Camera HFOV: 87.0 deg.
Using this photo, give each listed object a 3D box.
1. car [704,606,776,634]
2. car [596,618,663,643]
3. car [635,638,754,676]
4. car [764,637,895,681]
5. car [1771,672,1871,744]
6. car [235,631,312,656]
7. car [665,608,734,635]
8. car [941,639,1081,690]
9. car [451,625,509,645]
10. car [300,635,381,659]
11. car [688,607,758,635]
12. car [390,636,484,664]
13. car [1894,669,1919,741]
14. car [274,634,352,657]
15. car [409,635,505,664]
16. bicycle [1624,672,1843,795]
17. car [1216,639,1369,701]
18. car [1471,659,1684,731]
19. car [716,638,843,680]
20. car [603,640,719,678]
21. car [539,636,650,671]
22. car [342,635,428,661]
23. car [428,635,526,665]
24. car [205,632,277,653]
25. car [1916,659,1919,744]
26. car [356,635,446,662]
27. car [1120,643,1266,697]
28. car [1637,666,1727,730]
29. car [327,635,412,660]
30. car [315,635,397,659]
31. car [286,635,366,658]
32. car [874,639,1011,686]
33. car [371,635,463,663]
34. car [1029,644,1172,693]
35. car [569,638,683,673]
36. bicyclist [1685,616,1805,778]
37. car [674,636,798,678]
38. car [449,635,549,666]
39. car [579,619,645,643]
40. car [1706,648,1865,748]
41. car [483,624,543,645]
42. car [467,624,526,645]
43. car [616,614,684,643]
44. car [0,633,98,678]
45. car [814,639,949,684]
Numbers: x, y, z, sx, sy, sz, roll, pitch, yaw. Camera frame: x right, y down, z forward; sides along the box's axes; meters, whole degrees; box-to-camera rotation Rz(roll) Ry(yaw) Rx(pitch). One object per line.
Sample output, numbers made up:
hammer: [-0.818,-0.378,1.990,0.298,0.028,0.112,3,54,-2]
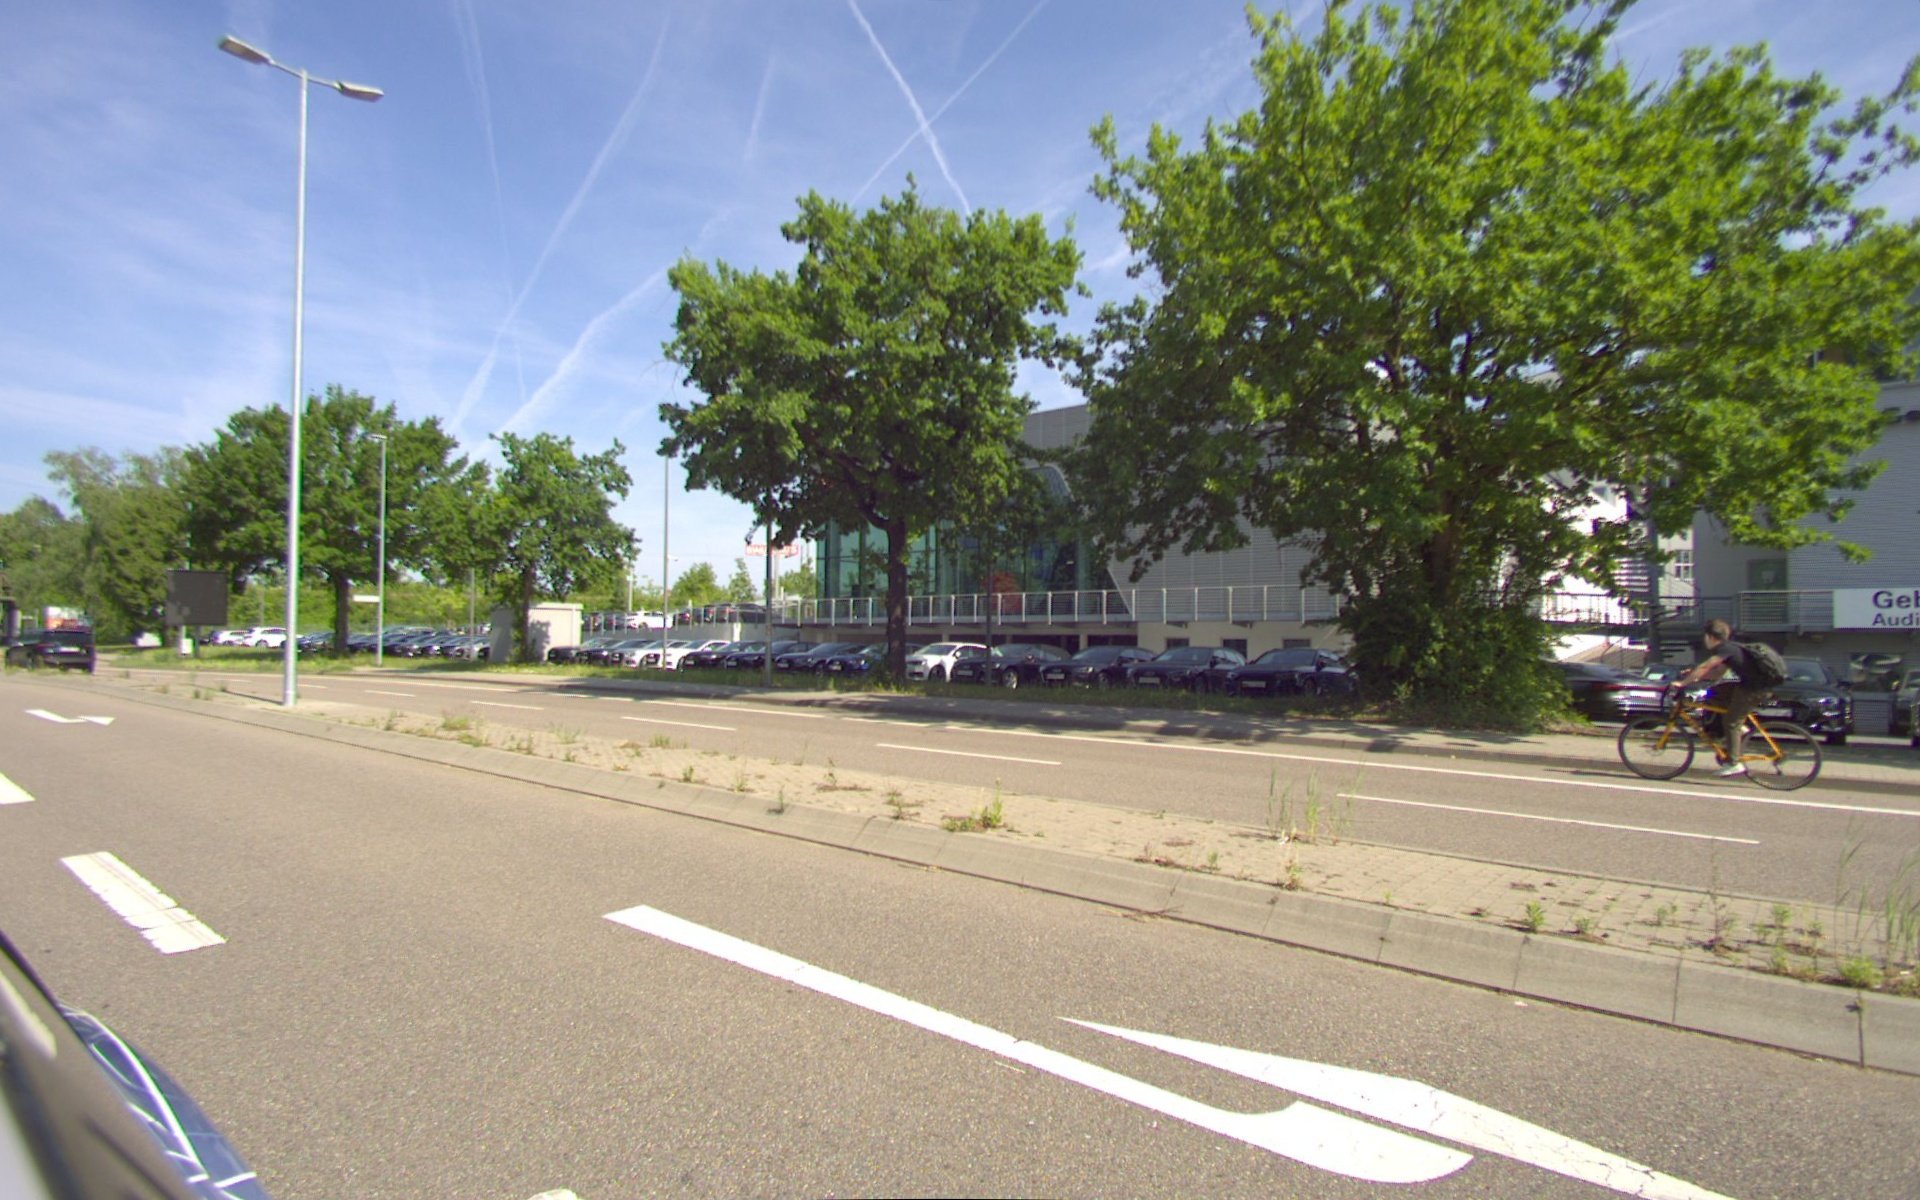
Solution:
car: [-13.635,1.281,62.849,1.689,1.416,4.141,-2,-6,42]
car: [-23.398,2.206,71.704,1.689,1.511,4.141,-2,-6,42]
car: [-10.086,2.204,38.651,1.689,1.265,4.141,-2,-6,42]
car: [-4.213,1.959,33.188,1.689,1.264,4.141,-2,-6,42]
car: [20.780,2.536,24.526,1.688,1.484,3.779,-2,-3,39]
car: [-48.953,3.126,72.220,1.689,1.511,4.141,-2,-6,42]
car: [-17.185,1.474,66.937,1.689,1.511,4.141,-2,-6,42]
car: [1.496,1.836,28.367,1.689,1.256,4.141,-2,-6,42]
car: [-41.521,3.047,87.605,1.689,1.511,4.141,-2,-6,42]
car: [-40.273,3.087,65.870,1.689,1.333,4.141,-2,-6,42]
car: [-15.189,1.377,65.071,1.689,1.511,4.141,-2,-6,42]
car: [-28.484,2.727,55.217,1.689,1.333,4.141,-2,-6,42]
car: [22.573,2.359,22.984,1.803,1.484,3.778,-2,-3,40]
car: [-44.296,3.137,69.303,1.689,1.333,4.141,-2,-6,42]
car: [-26.389,2.635,53.217,1.689,1.333,4.141,-2,-6,42]
bicycle: [8.145,1.362,10.719,1.770,1.159,0.565,-2,-5,44]
car: [7.631,1.612,22.991,1.796,1.236,4.141,-2,-6,42]
car: [12.989,1.958,21.593,1.662,1.343,3.848,1,-3,-11]
car: [-6.191,2.046,35.020,1.689,1.269,4.141,-2,-6,42]
car: [-11.849,2.356,40.282,1.689,1.335,4.141,-2,-6,42]
car: [-15.693,2.322,43.587,1.689,1.333,4.141,-2,-6,42]
car: [-34.457,2.878,60.727,1.689,1.333,4.141,-2,-6,42]
car: [-24.679,2.592,51.811,1.689,1.333,4.141,-2,-6,42]
car: [-54.862,3.277,77.280,1.689,1.389,4.141,-2,-6,42]
car: [15.491,1.530,14.883,1.801,1.405,4.172,-2,-6,40]
car: [-32.323,2.810,58.586,1.689,1.333,4.141,-2,-6,42]
car: [5.755,1.731,24.713,1.695,1.143,4.141,-2,-6,42]
car: [18.848,2.478,26.358,1.688,1.448,3.780,-2,-3,38]
car: [-36.377,2.957,62.382,1.689,1.333,4.141,-2,-6,42]
car: [-38.306,3.001,64.257,1.689,1.333,4.141,-2,-6,42]
car: [-42.212,3.113,67.447,1.689,1.333,4.142,-2,-6,42]
car: [-0.450,1.878,29.931,1.689,1.204,4.141,-2,-6,42]
car: [-30.470,2.769,56.860,1.689,1.333,4.141,-2,-6,42]
car: [3.769,1.830,26.627,1.719,1.131,4.141,-2,-6,42]
car: [-13.801,2.307,42.002,1.689,1.256,4.141,-2,-6,42]
bicyclist: [8.244,0.993,10.644,0.910,1.609,0.570,-2,-5,44]
car: [-8.094,2.097,36.848,1.689,1.309,4.141,-2,-6,42]
car: [-22.769,2.516,50.132,1.689,1.333,4.141,-2,-6,42]
car: [-25.165,2.274,73.227,1.689,1.511,4.141,-2,-6,42]
car: [13.551,1.595,16.657,1.808,1.413,3.983,-2,-6,40]
car: [-36.891,2.868,83.645,1.689,1.511,4.141,-2,-6,42]
car: [-38.963,2.926,85.130,1.689,1.511,4.141,-2,-6,42]
car: [-21.396,1.996,69.965,1.689,1.745,4.141,-2,-6,42]
car: [-32.525,1.973,36.067,3.992,1.523,1.845,-2,-4,36]
car: [-2.373,1.924,31.456,1.689,1.215,4.141,-2,-6,42]
